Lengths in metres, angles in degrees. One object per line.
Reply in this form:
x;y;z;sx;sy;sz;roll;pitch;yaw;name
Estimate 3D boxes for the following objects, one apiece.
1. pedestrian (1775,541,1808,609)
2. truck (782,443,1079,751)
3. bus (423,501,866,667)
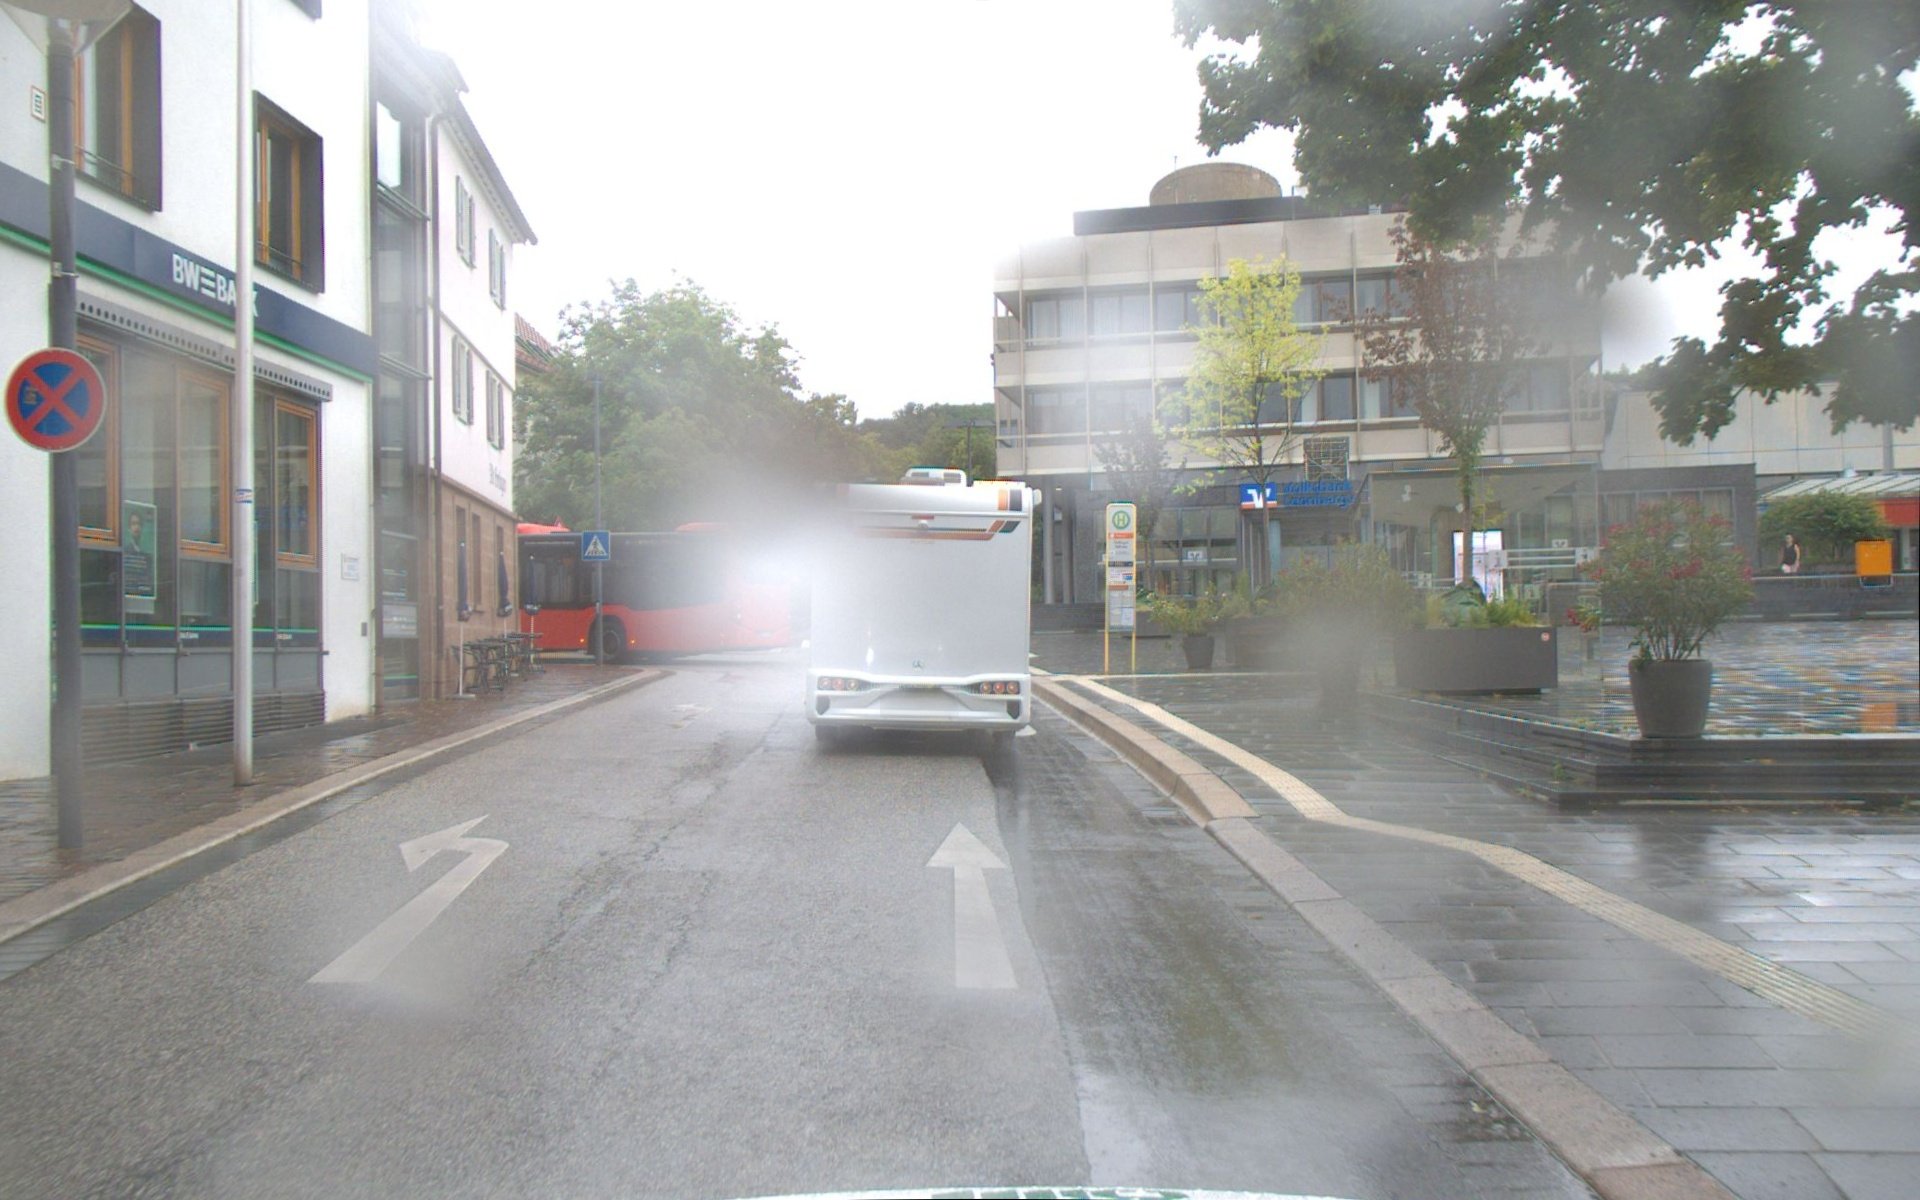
26.953;-0.803;53.619;0.742;2.185;0.659;-2;-1;17;pedestrian
-0.489;0.006;18.906;2.751;2.845;6.101;-2;-1;-4;truck
-7.301;-0.264;37.892;9.910;3.201;3.032;-3;-1;23;bus
